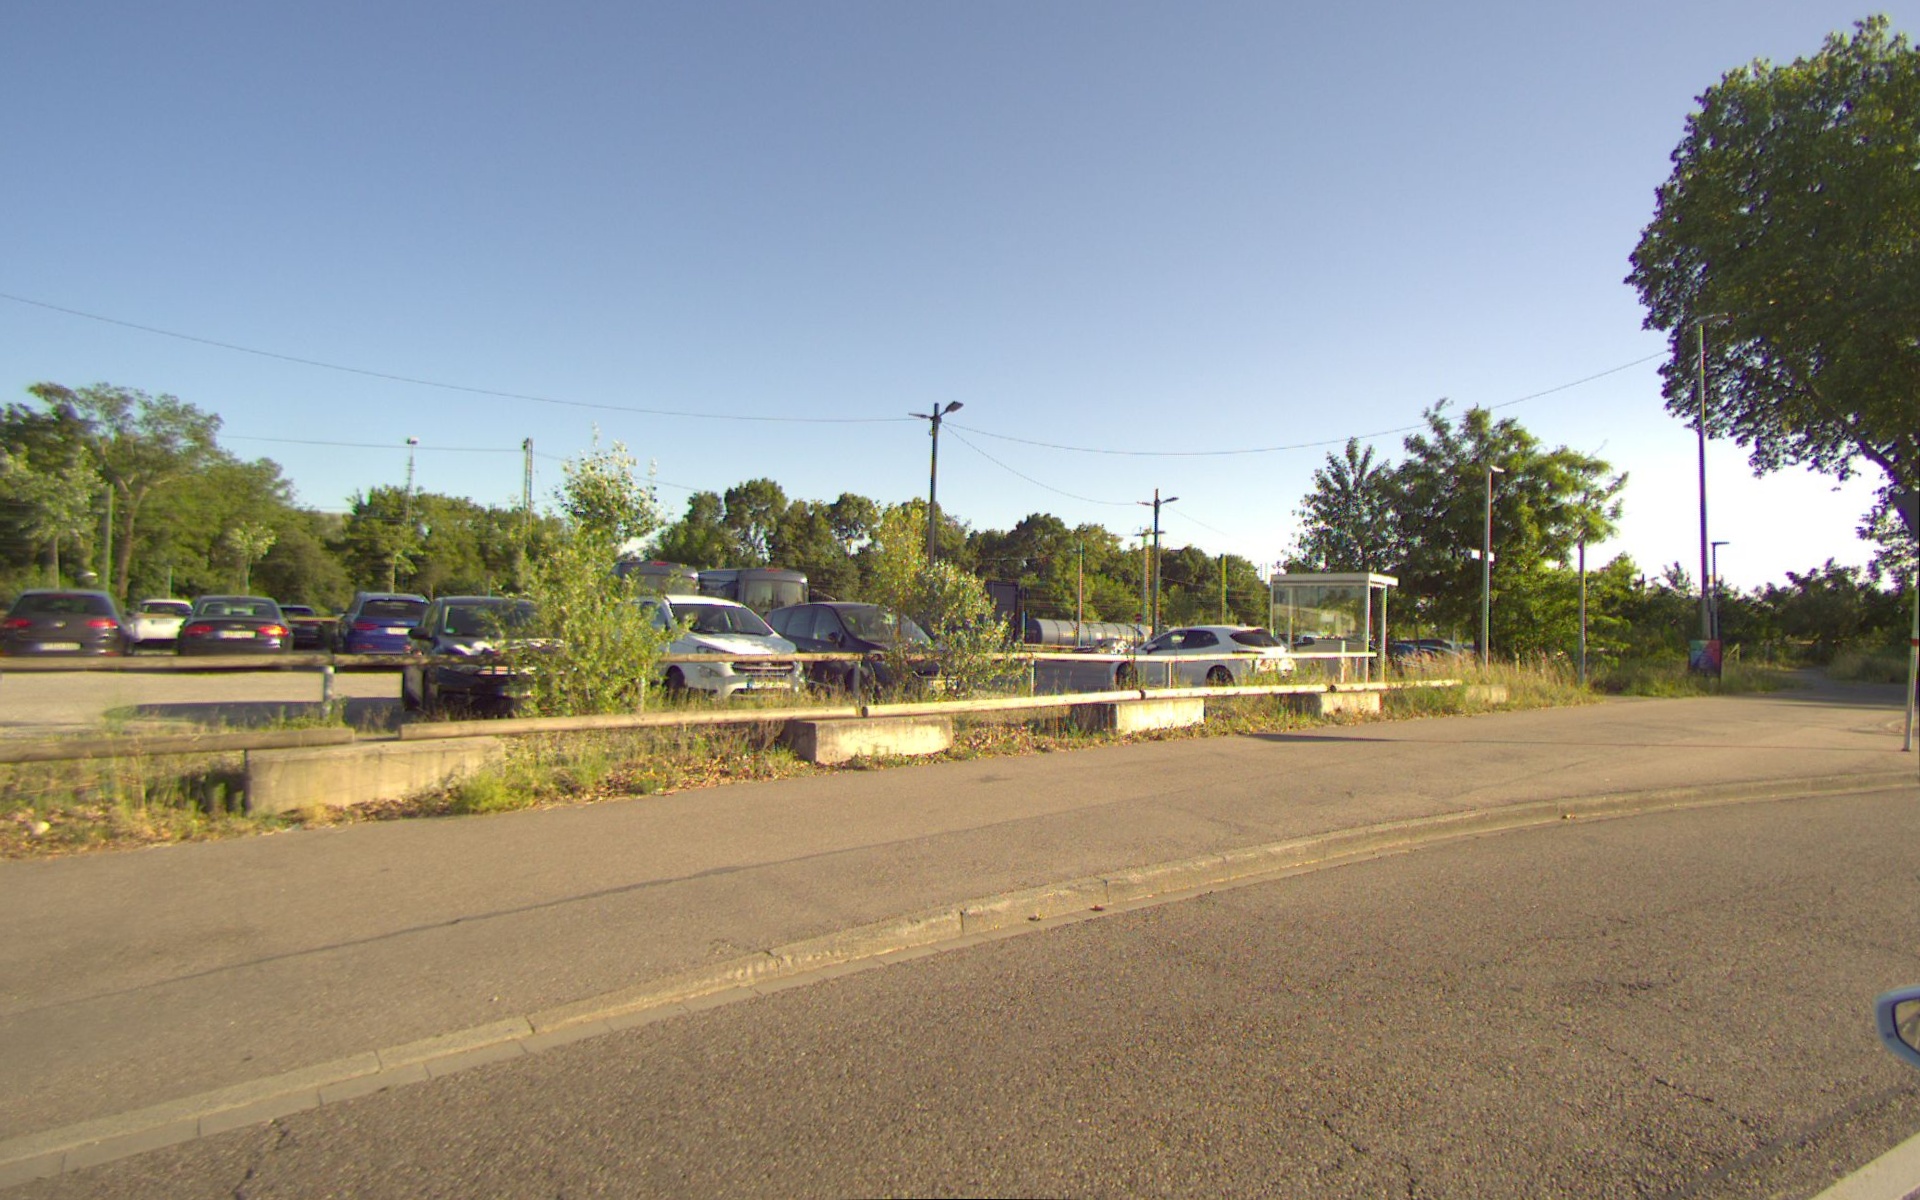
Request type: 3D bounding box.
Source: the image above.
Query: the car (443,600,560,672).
[{"bbox_3d":[-10.829,0.793,23.582,1.816,1.528,3.714,2,-1,-35],"label":"car"}]

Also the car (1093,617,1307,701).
[{"bbox_3d":[4.982,1.178,21.357,1.873,1.531,4.230,2,-1,-36],"label":"car"}]

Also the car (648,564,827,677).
[{"bbox_3d":[-5.800,0.499,25.620,2.380,2.550,5.454,2,-1,-37],"label":"car"}]

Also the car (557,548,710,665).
[{"bbox_3d":[-7.858,0.171,23.908,2.109,2.500,4.434,2,-1,-37],"label":"car"}]

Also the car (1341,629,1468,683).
[{"bbox_3d":[15.922,1.974,36.034,3.931,1.705,1.836,1,-1,33],"label":"car"}]

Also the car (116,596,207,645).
[{"bbox_3d":[-25.380,0.617,32.031,1.857,1.450,3.898,2,-1,-33],"label":"car"}]

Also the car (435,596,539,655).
[{"bbox_3d":[-13.039,0.669,27.575,1.966,1.493,4.163,2,-1,-34],"label":"car"}]

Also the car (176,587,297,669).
[{"bbox_3d":[-14.140,0.520,19.807,1.742,1.451,3.962,2,-1,-34],"label":"car"}]

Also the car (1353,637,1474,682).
[{"bbox_3d":[17.286,2.239,38.354,3.937,1.479,1.723,1,-1,38],"label":"car"}]

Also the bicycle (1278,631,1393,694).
[{"bbox_3d":[10.687,1.765,28.623,2.897,1.637,0.906,2,0,0],"label":"bicycle"}]

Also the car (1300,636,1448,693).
[{"bbox_3d":[12.755,1.948,30.994,3.931,1.500,1.959,1,-1,33],"label":"car"}]

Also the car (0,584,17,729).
[{"bbox_3d":[-10.069,0.550,9.175,1.824,1.473,3.880,2,-1,-40],"label":"car"}]

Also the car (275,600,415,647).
[{"bbox_3d":[-20.430,0.805,33.400,3.829,1.465,1.980,2,-1,-36],"label":"car"}]

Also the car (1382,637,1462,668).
[{"bbox_3d":[28.581,3.236,62.261,1.958,1.728,4.118,2,-1,-33],"label":"car"}]

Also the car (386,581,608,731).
[{"bbox_3d":[-5.856,0.613,12.454,1.837,1.535,3.961,2,-1,-34],"label":"car"}]

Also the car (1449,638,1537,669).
[{"bbox_3d":[35.820,3.573,67.618,1.979,1.788,4.917,2,-1,-33],"label":"car"}]

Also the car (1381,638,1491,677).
[{"bbox_3d":[21.106,2.534,44.632,1.983,1.494,3.956,2,-1,-38],"label":"car"}]

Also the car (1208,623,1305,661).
[{"bbox_3d":[15.963,2.255,54.407,2.173,1.863,4.988,2,-1,-28],"label":"car"}]

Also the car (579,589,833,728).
[{"bbox_3d":[-3.657,0.721,13.988,1.871,1.632,4.010,2,-1,-40],"label":"car"}]

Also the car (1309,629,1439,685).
[{"bbox_3d":[14.165,1.916,34.394,3.785,1.687,2.009,1,-1,33],"label":"car"}]

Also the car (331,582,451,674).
[{"bbox_3d":[-12.204,0.528,21.428,1.810,1.602,3.959,2,2,-35],"label":"car"}]

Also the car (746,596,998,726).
[{"bbox_3d":[-1.480,0.825,15.513,1.858,1.676,4.096,2,0,-40],"label":"car"}]

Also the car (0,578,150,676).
[{"bbox_3d":[-16.485,0.467,18.618,1.981,1.615,3.960,2,-1,-35],"label":"car"}]
